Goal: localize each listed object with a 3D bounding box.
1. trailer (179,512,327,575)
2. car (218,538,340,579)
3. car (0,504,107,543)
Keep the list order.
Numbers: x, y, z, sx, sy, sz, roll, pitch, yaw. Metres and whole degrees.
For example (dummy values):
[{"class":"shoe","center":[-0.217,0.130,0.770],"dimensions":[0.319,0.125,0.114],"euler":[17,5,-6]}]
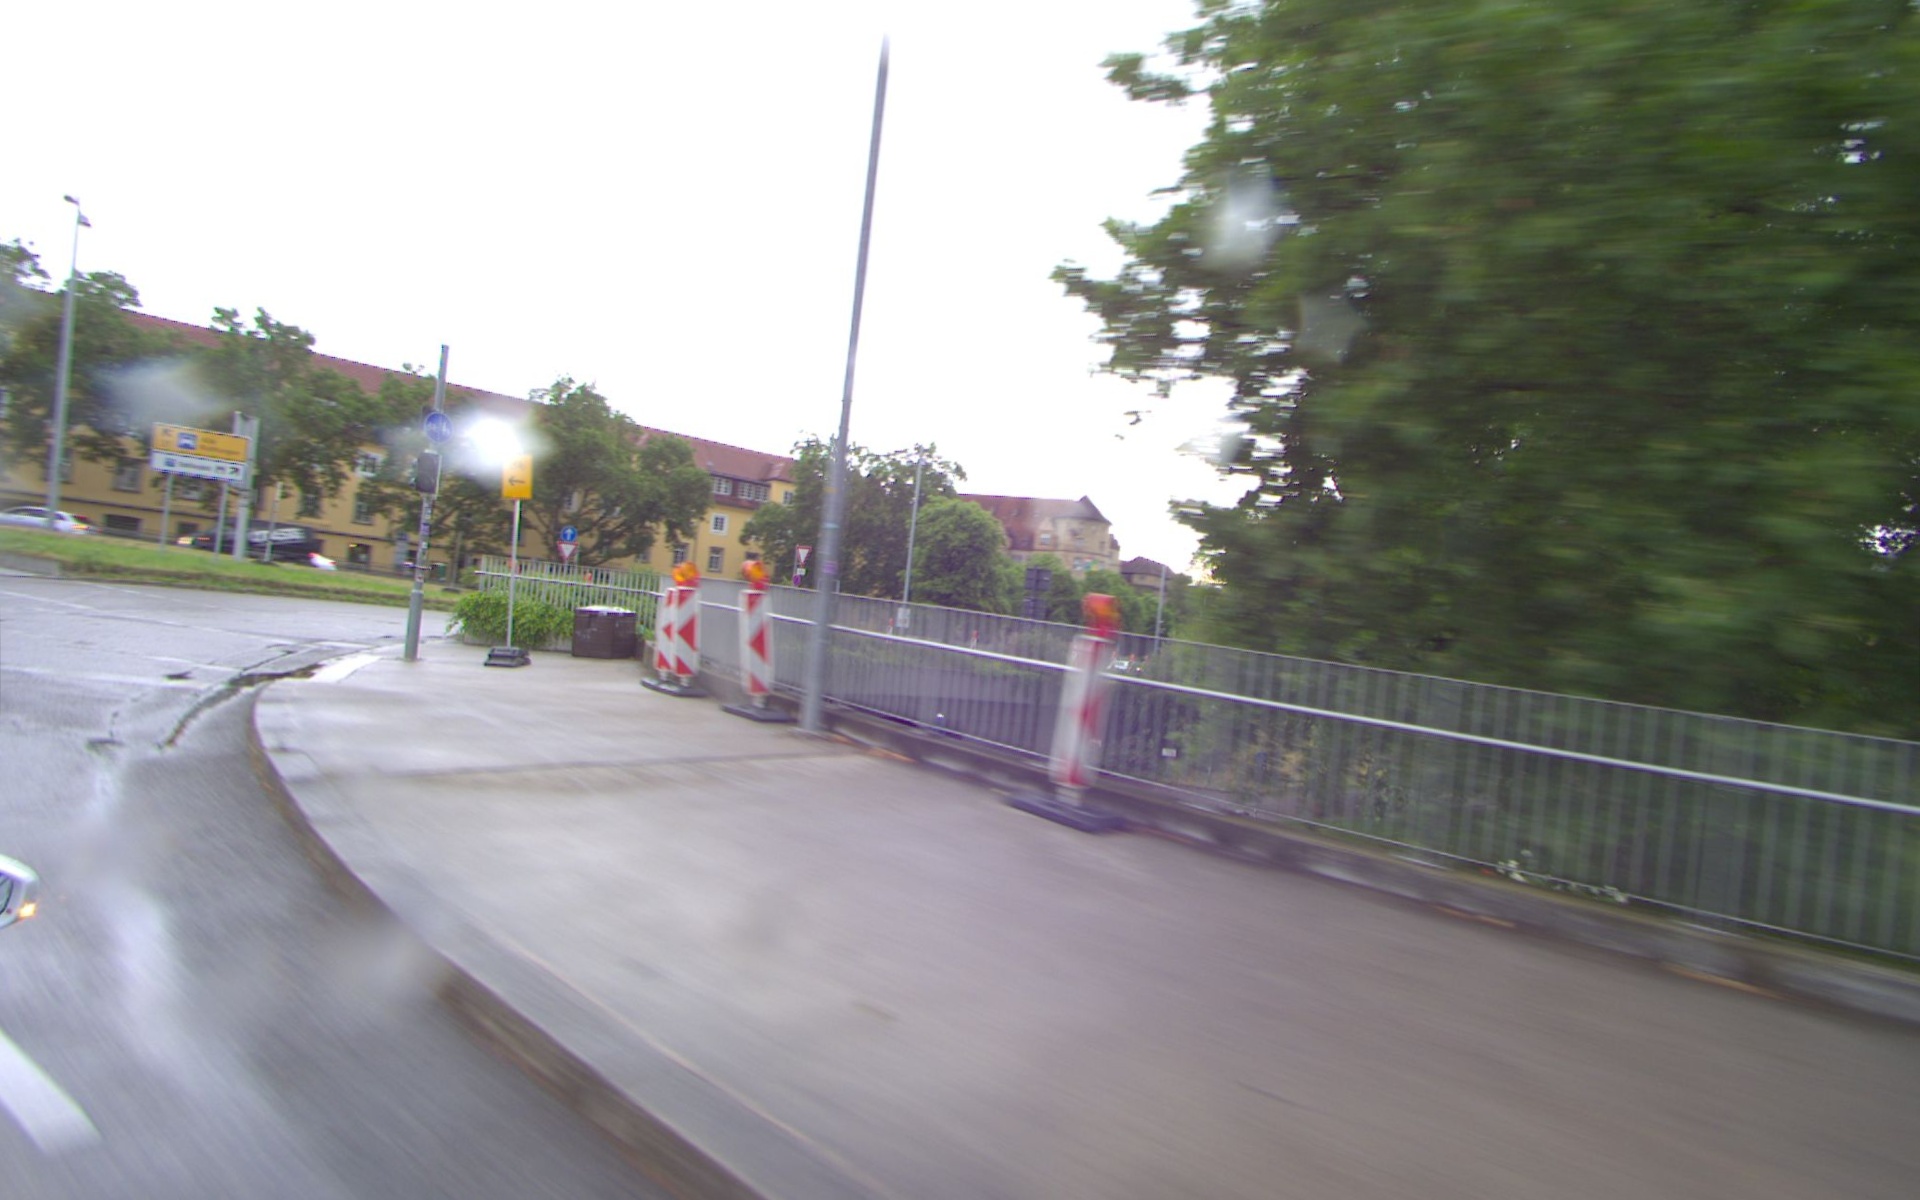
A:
[{"class":"trailer","center":[-32.857,-2.565,46.843],"dimensions":[5.432,2.284,1.979],"euler":[6,-1,-39]},{"class":"car","center":[-36.368,-2.170,53.836],"dimensions":[5.262,1.377,1.542],"euler":[9,-3,-38]},{"class":"car","center":[-41.090,-3.482,44.892],"dimensions":[4.309,1.153,1.539],"euler":[7,-2,-13]}]
